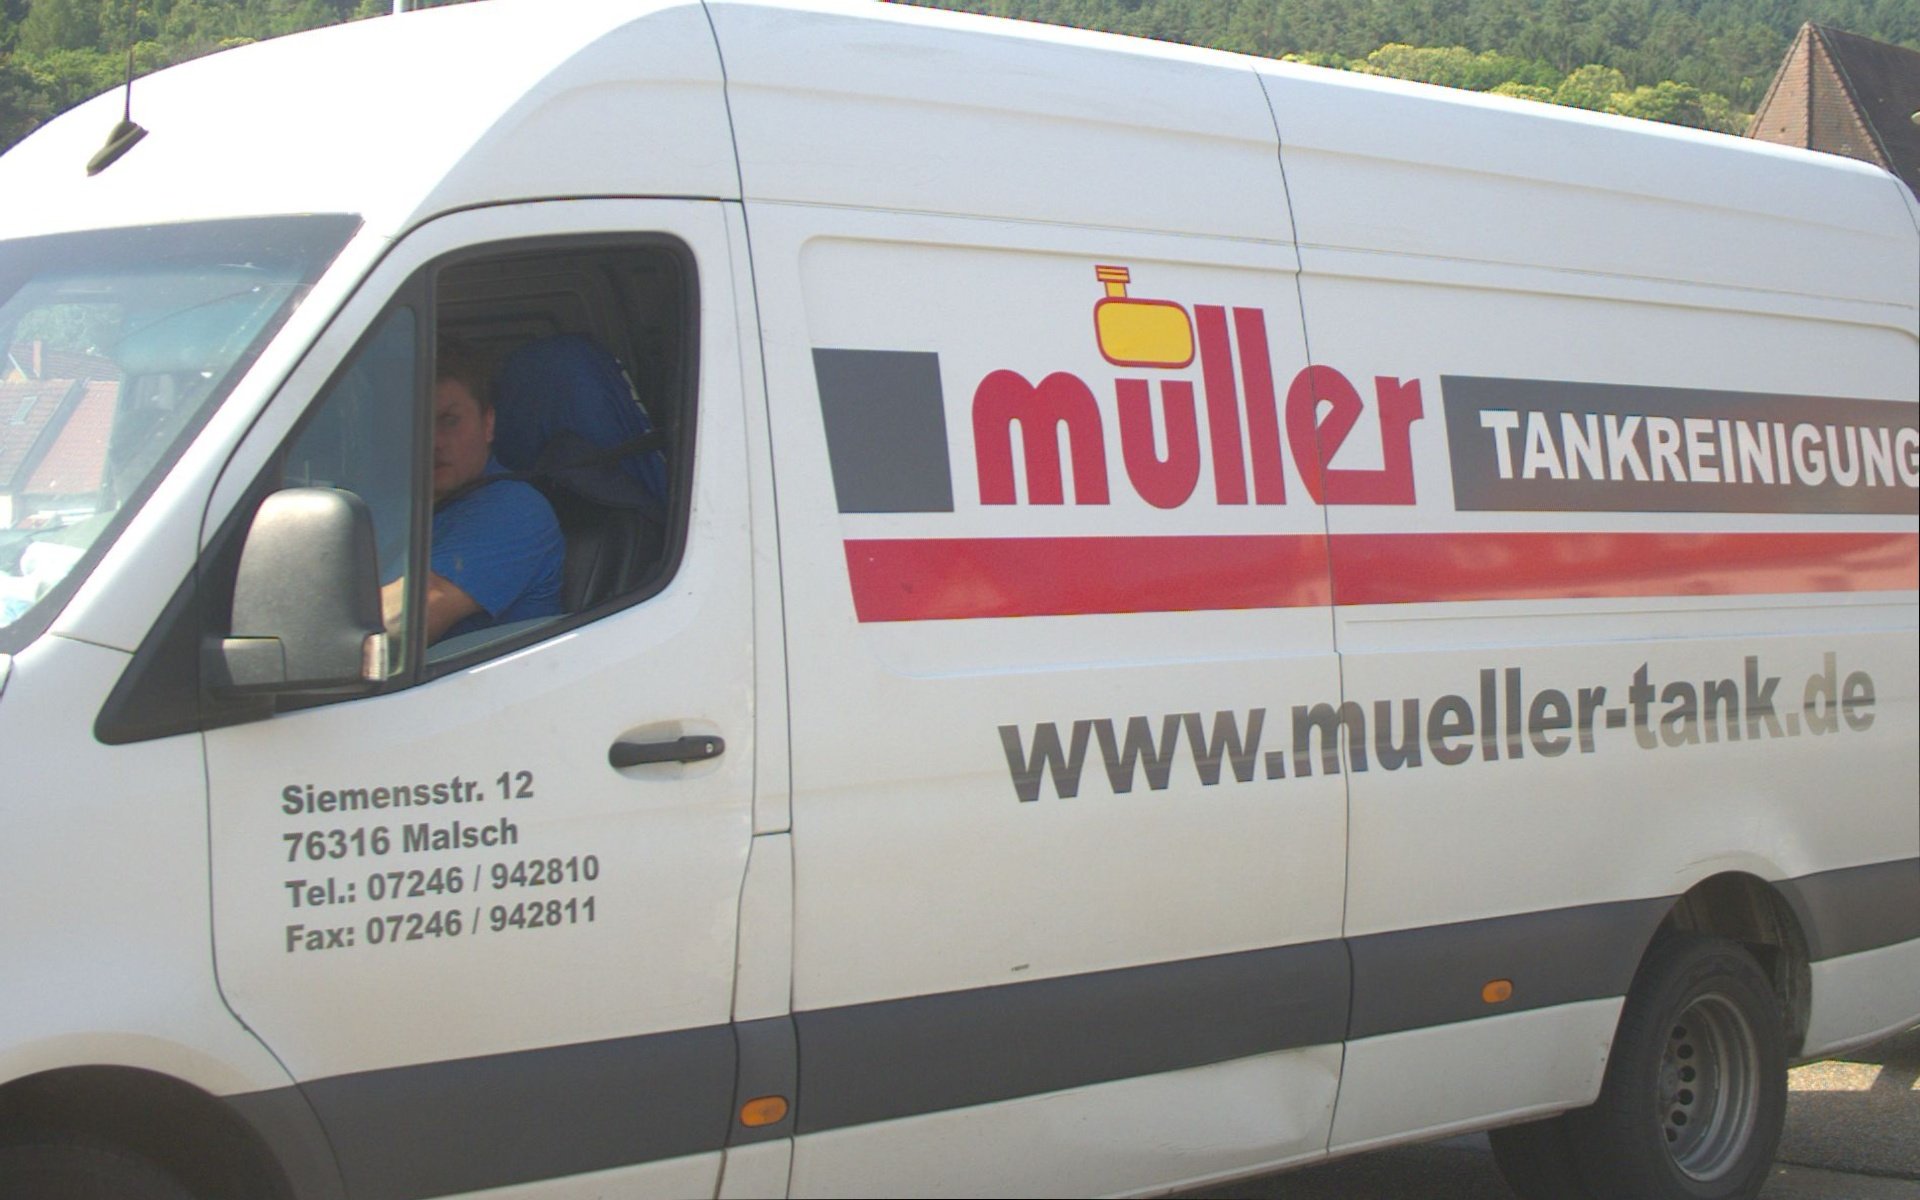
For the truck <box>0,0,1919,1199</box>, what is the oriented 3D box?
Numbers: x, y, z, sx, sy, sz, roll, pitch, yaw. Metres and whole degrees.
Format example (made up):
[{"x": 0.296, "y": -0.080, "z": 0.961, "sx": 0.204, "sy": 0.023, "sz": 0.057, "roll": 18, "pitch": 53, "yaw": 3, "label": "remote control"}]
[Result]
[{"x": -0.257, "y": 0.087, "z": 7.253, "sx": 2.110, "sy": 2.690, "sz": 7.114, "roll": 0, "pitch": -1, "yaw": 44, "label": "truck"}]

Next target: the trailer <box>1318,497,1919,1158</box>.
[{"x": 4.013, "y": 0.660, "z": 12.046, "sx": 2.617, "sy": 1.821, "sz": 5.623, "roll": 0, "pitch": -1, "yaw": 43, "label": "trailer"}]
